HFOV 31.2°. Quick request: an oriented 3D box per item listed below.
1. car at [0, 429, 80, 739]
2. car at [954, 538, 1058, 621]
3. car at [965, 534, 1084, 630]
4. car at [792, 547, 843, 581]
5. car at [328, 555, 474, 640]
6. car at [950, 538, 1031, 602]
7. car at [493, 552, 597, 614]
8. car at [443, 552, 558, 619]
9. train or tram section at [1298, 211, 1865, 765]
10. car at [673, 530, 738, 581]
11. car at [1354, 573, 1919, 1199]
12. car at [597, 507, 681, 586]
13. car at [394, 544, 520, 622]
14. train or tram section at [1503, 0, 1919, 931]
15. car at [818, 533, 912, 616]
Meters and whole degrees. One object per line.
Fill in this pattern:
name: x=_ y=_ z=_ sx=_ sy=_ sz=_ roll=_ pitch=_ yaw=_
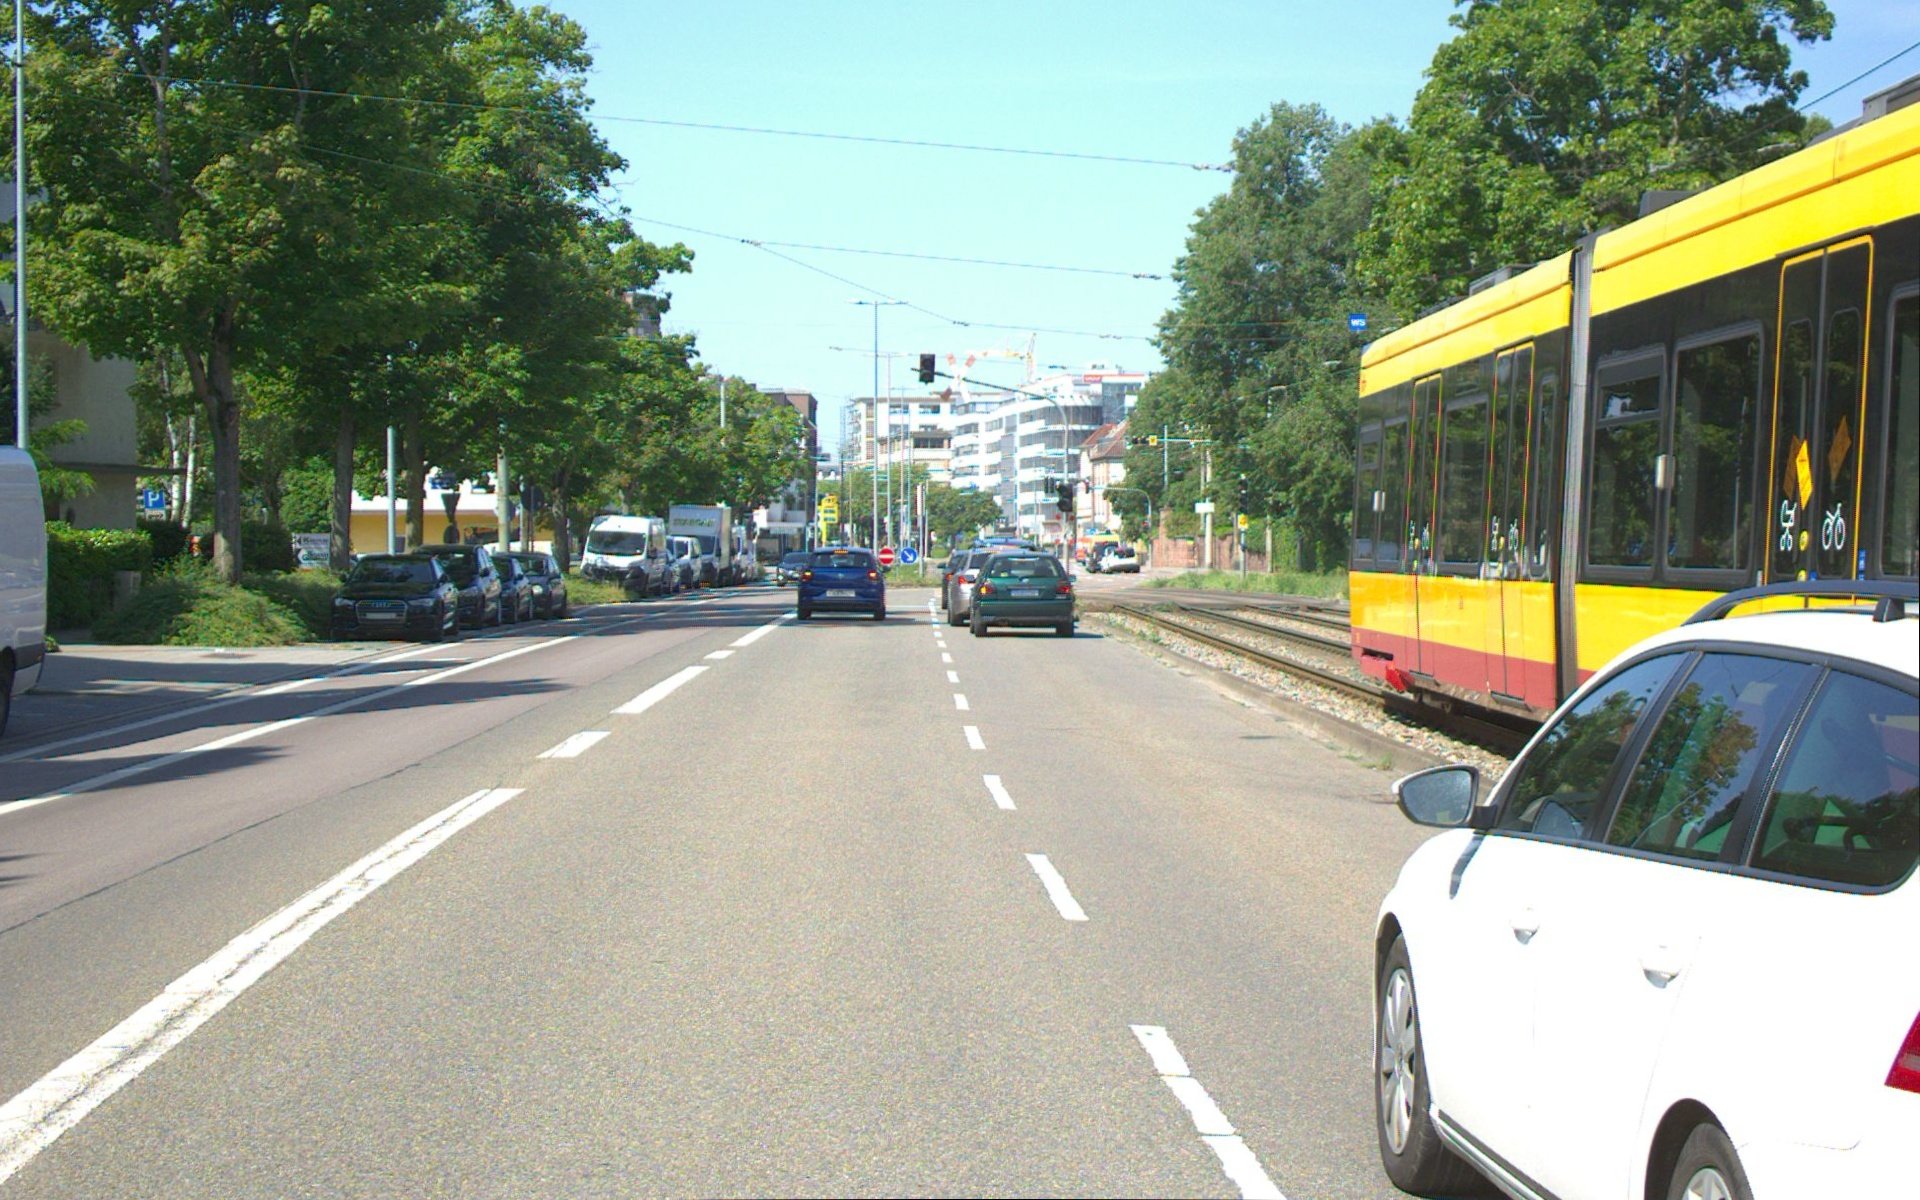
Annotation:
car: x=-9.352 y=-0.163 z=28.769 sx=1.994 sy=2.705 sz=7.157 roll=3 pitch=1 yaw=0
car: x=0.840 y=-0.419 z=64.879 sx=1.800 sy=1.455 sz=4.001 roll=1 pitch=1 yaw=-1
car: x=1.048 y=-0.328 z=57.590 sx=1.800 sy=1.502 sz=4.001 roll=1 pitch=1 yaw=-1
car: x=-5.401 y=-1.378 z=130.764 sx=1.700 sy=1.268 sz=4.000 roll=0 pitch=1 yaw=1
car: x=-9.631 y=-0.073 z=59.506 sx=1.700 sy=1.412 sz=4.000 roll=0 pitch=1 yaw=3
car: x=0.697 y=-0.731 z=81.109 sx=1.800 sy=1.455 sz=4.000 roll=0 pitch=1 yaw=-1
car: x=-9.341 y=-0.410 z=77.641 sx=1.700 sy=1.347 sz=4.000 roll=0 pitch=1 yaw=3
car: x=-9.648 y=-0.327 z=72.398 sx=1.700 sy=1.347 sz=4.000 roll=0 pitch=1 yaw=3
train or tram section: x=4.842 y=-0.878 z=29.847 sx=2.511 sy=3.734 sz=13.311 roll=0 pitch=1 yaw=0
car: x=-9.370 y=-1.643 z=126.980 sx=1.826 sy=1.860 sz=4.724 roll=0 pitch=1 yaw=3
car: x=1.973 y=0.706 z=6.441 sx=1.691 sy=1.446 sz=4.459 roll=0 pitch=1 yaw=-3
car: x=-9.919 y=-1.663 z=106.623 sx=1.880 sy=2.407 sz=5.116 roll=0 pitch=1 yaw=3
car: x=-9.762 y=-0.352 z=66.986 sx=1.700 sy=1.477 sz=4.000 roll=0 pitch=1 yaw=3
train or tram section: x=5.019 y=-0.612 z=16.548 sx=2.511 sy=3.734 sz=13.312 roll=0 pitch=1 yaw=-1
car: x=-1.885 y=-0.532 z=68.780 sx=1.800 sy=1.502 sz=4.001 roll=1 pitch=2 yaw=-1
